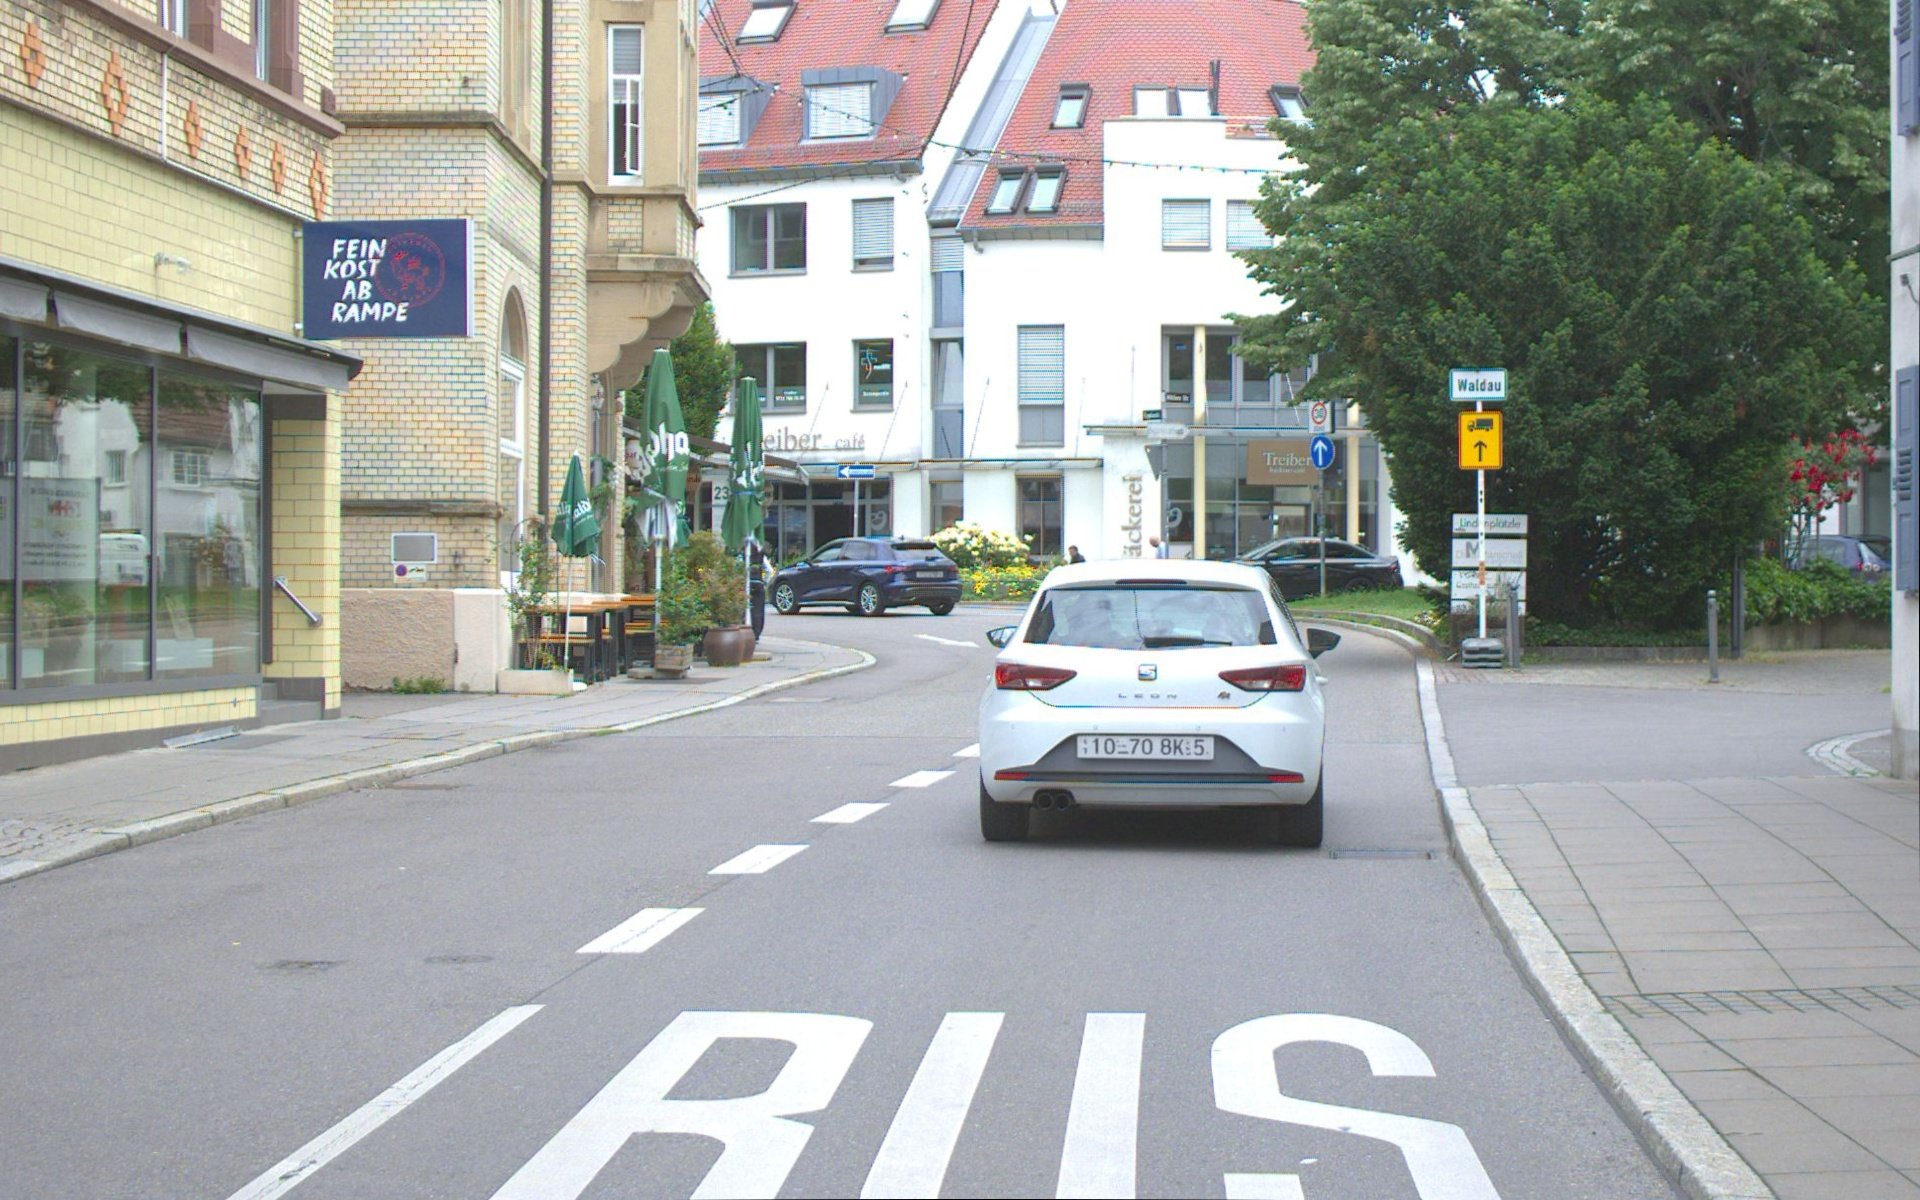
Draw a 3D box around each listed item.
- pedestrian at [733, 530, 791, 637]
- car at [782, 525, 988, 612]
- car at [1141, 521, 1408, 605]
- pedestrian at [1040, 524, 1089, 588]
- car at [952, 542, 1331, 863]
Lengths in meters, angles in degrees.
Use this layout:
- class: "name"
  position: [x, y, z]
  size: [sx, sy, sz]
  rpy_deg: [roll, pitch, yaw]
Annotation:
- class: "pedestrian"
  position: [-2.891, -0.243, 50.222]
  size: [0.834, 1.546, 0.627]
  rpy_deg: [0, 1, -2]
- class: "car"
  position: [-1.380, -0.599, 62.115]
  size: [1.812, 1.475, 3.870]
  rpy_deg: [-1, 2, -37]
- class: "car"
  position: [5.882, -0.704, 64.747]
  size: [4.903, 1.552, 2.249]
  rpy_deg: [0, 1, 4]
- class: "pedestrian"
  position: [2.143, -0.902, 70.685]
  size: [0.712, 1.308, 0.801]
  rpy_deg: [0, 1, -24]
- class: "car"
  position: [1.014, 0.457, 18.405]
  size: [1.812, 1.475, 3.870]
  rpy_deg: [0, 2, 4]
